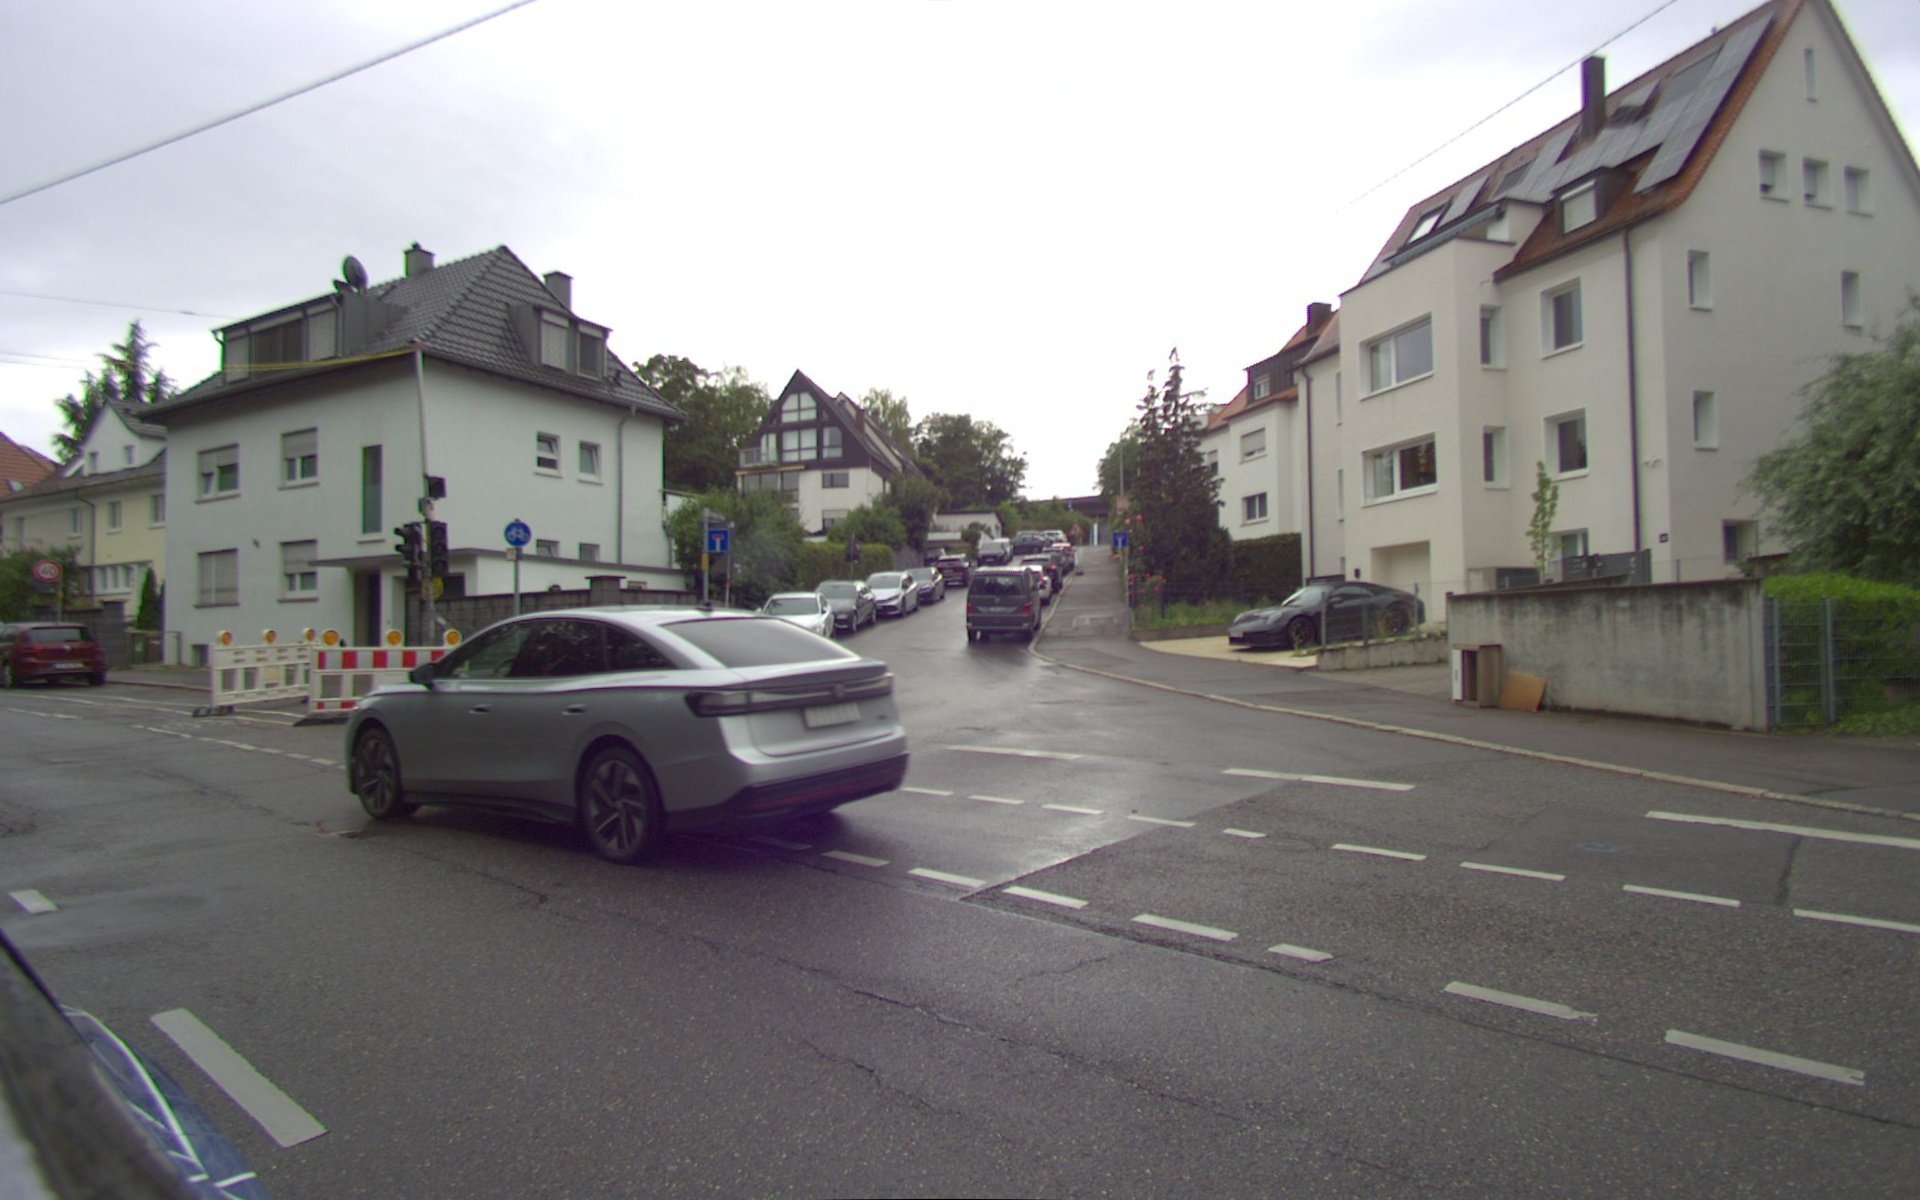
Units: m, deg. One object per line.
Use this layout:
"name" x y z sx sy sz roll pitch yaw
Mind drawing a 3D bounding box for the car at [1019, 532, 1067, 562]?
"car" 7.205 -4.566 87.639 3.954 2.028 1.995 -5 -1 8

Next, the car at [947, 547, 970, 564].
"car" -0.079 -3.262 74.017 1.559 1.220 3.650 -1 3 2

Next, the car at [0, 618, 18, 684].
"car" -26.148 1.316 25.769 4.131 1.653 1.782 -1 -1 25

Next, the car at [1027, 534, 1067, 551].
"car" 8.941 -5.904 103.911 3.782 1.529 1.664 -1 0 15

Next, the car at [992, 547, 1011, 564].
"car" 3.061 -3.329 74.707 1.292 1.206 2.980 -1 3 5

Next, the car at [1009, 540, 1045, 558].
"car" 5.556 -4.202 83.650 2.914 1.328 1.282 -1 0 4

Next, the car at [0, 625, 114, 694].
"car" -21.463 1.333 23.378 3.833 1.443 1.768 -1 -1 30

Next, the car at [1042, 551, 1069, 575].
"car" 5.507 -2.145 58.108 1.274 1.325 2.984 -1 3 10

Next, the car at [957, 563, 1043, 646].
"car" 1.247 0.050 29.321 1.978 2.028 4.482 -1 4 9

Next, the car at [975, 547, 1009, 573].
"car" 2.199 -2.673 68.882 1.770 1.531 4.016 -1 0 9

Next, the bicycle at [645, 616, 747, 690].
"bicycle" -4.780 0.932 18.453 0.508 1.249 1.984 1 0 32

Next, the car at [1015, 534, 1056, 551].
"car" 7.393 -5.594 98.785 3.922 1.528 1.748 -1 0 6

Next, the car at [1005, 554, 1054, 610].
"car" 2.824 -0.755 40.320 1.686 1.843 4.194 -1 6 7

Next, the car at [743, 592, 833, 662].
"car" -4.348 0.624 26.152 1.827 1.473 4.124 -1 3 -3

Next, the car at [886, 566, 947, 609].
"car" -1.802 -0.555 42.956 1.903 1.448 4.100 -1 5 7

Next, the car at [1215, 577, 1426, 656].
"car" 7.713 0.334 21.769 3.942 1.290 1.613 -5 1 -13

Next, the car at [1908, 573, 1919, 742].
"car" 10.611 0.424 8.545 3.934 1.497 1.780 -2 -1 -12

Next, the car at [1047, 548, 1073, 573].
"car" 6.241 -2.449 62.844 1.488 1.373 3.465 -1 0 8

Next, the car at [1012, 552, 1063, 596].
"car" 3.526 -1.194 45.372 1.823 1.699 4.039 -1 5 11

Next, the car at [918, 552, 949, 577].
"car" -1.824 -2.422 69.789 1.793 1.566 4.009 -1 0 3

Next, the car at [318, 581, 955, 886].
"car" -2.522 0.691 7.251 4.809 1.539 1.837 -1 0 35

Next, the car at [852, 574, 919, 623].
"car" -2.653 -0.086 37.083 1.738 1.481 3.940 -1 4 6

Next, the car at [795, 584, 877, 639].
"car" -3.822 0.318 31.814 1.702 1.397 3.900 -1 4 6

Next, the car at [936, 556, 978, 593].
"car" -0.110 -1.365 52.461 1.623 1.637 3.992 -1 5 8
